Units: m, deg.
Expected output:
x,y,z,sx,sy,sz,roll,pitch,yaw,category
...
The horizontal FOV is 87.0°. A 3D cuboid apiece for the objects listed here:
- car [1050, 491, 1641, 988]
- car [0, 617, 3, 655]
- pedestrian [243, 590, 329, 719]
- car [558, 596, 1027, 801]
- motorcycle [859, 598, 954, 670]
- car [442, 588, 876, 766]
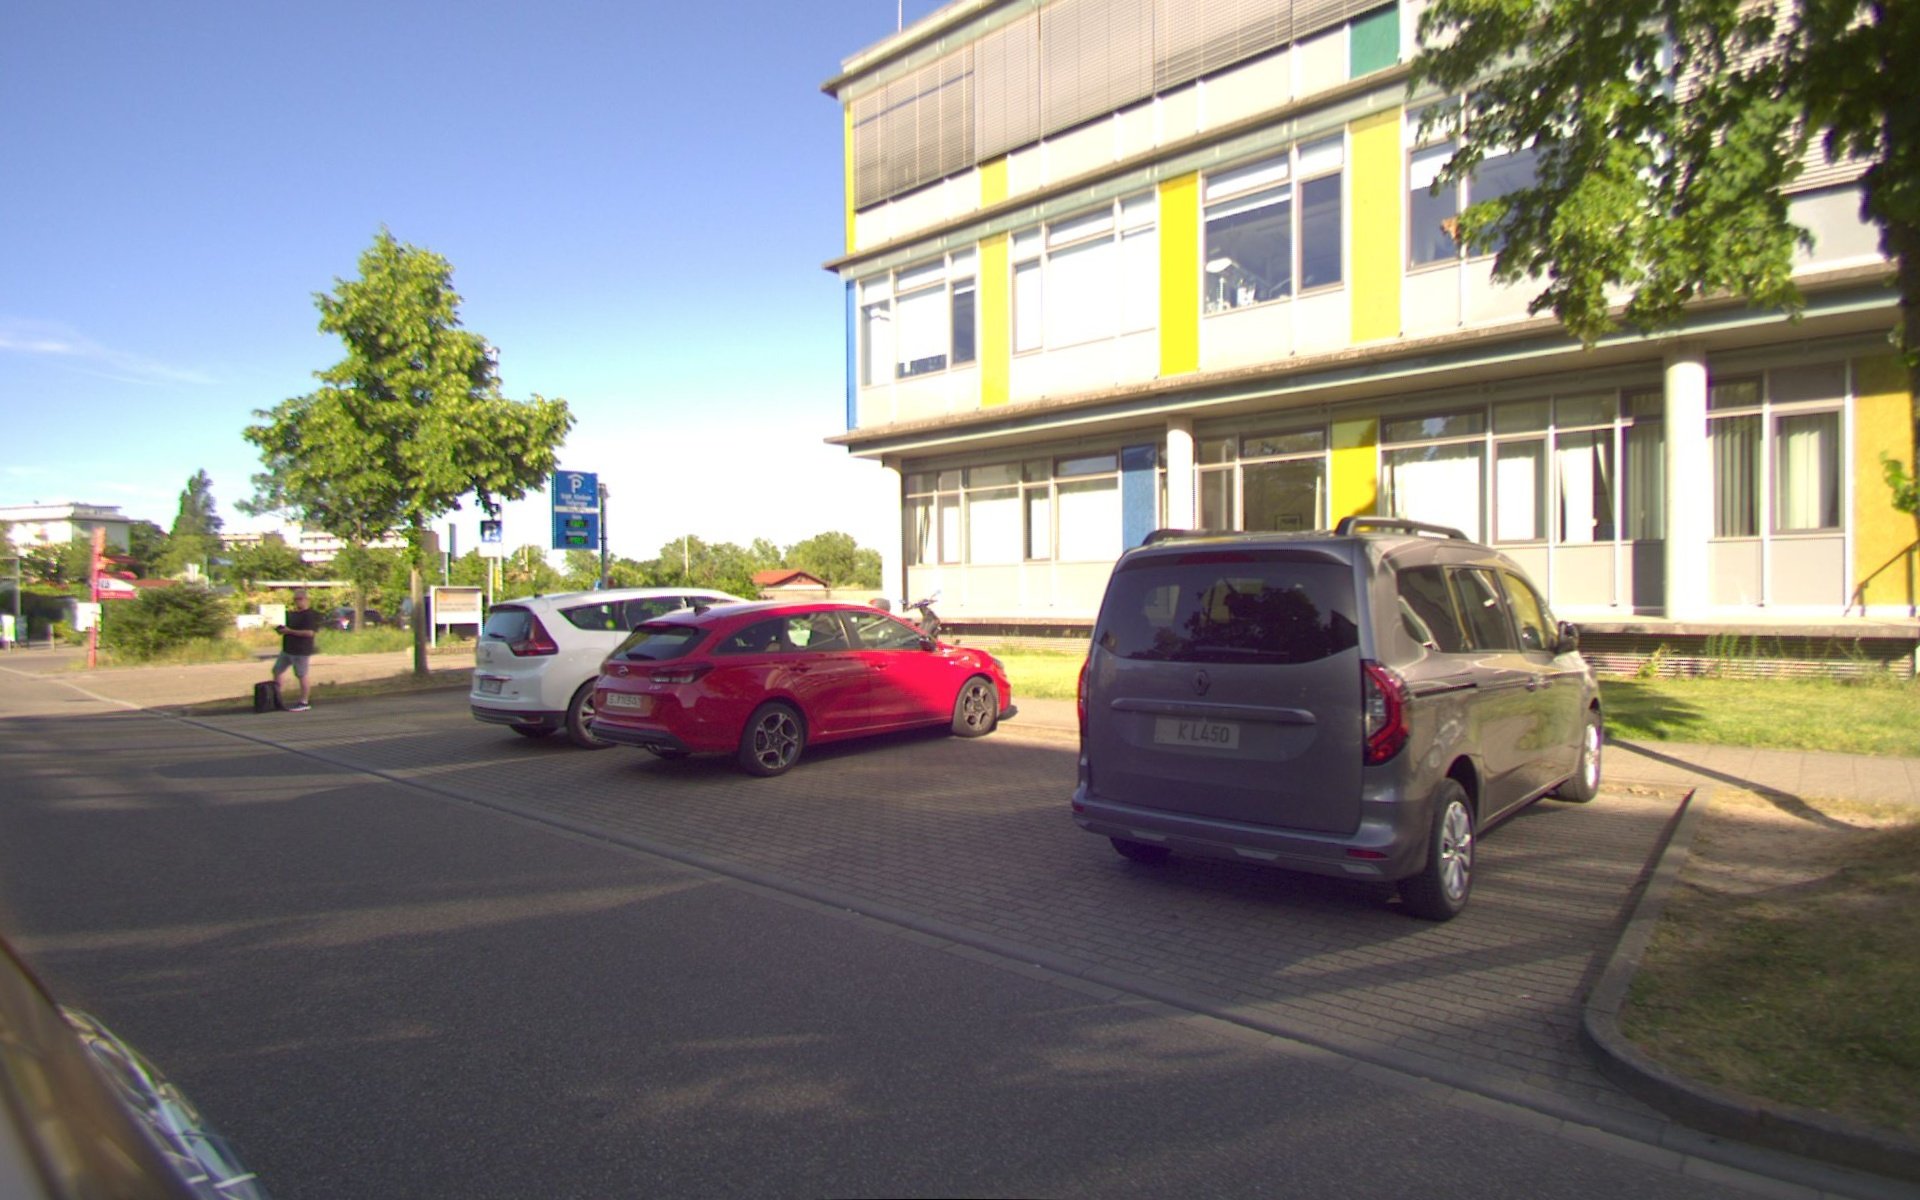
x,y,z,sx,sy,sz,roll,pitch,yaw,category
2.698,0.456,6.190,1.827,1.879,4.693,-1,1,41,car
-37.729,1.375,38.323,4.515,1.524,1.678,-2,2,41,car
-10.231,0.795,15.359,0.825,1.856,0.848,-1,1,43,pedestrian
-1.410,0.752,9.965,1.827,1.512,4.387,-1,0,41,car
-0.961,0.607,18.744,0.498,1.158,2.023,-2,2,39,motorcycle
-3.326,0.719,11.896,1.868,1.663,4.560,-1,0,45,car
